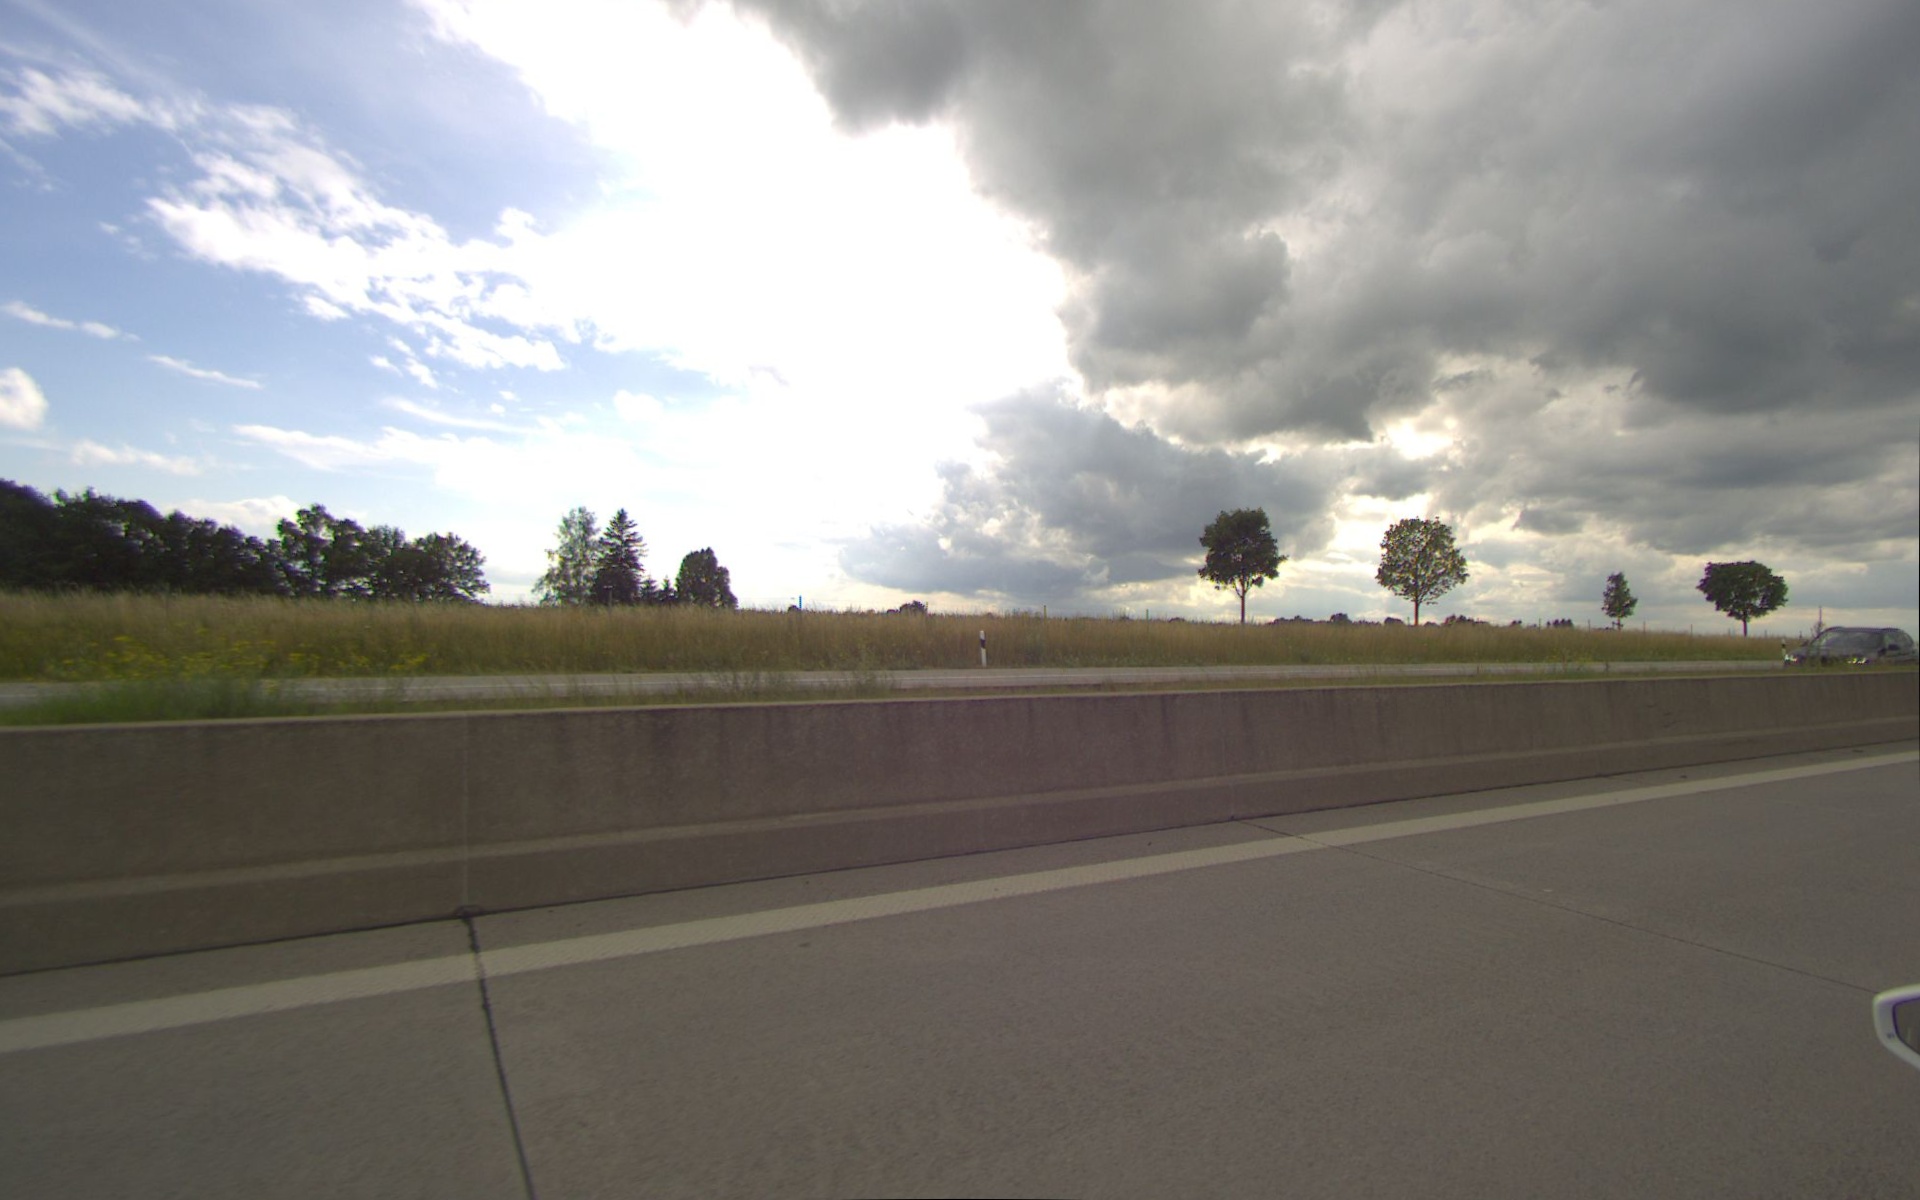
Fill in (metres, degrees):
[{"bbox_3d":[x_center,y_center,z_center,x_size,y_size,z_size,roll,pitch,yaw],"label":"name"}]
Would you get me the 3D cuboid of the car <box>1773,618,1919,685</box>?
[{"bbox_3d":[24.210,1.370,27.231,4.345,1.661,1.984,2,-1,-30],"label":"car"}]
